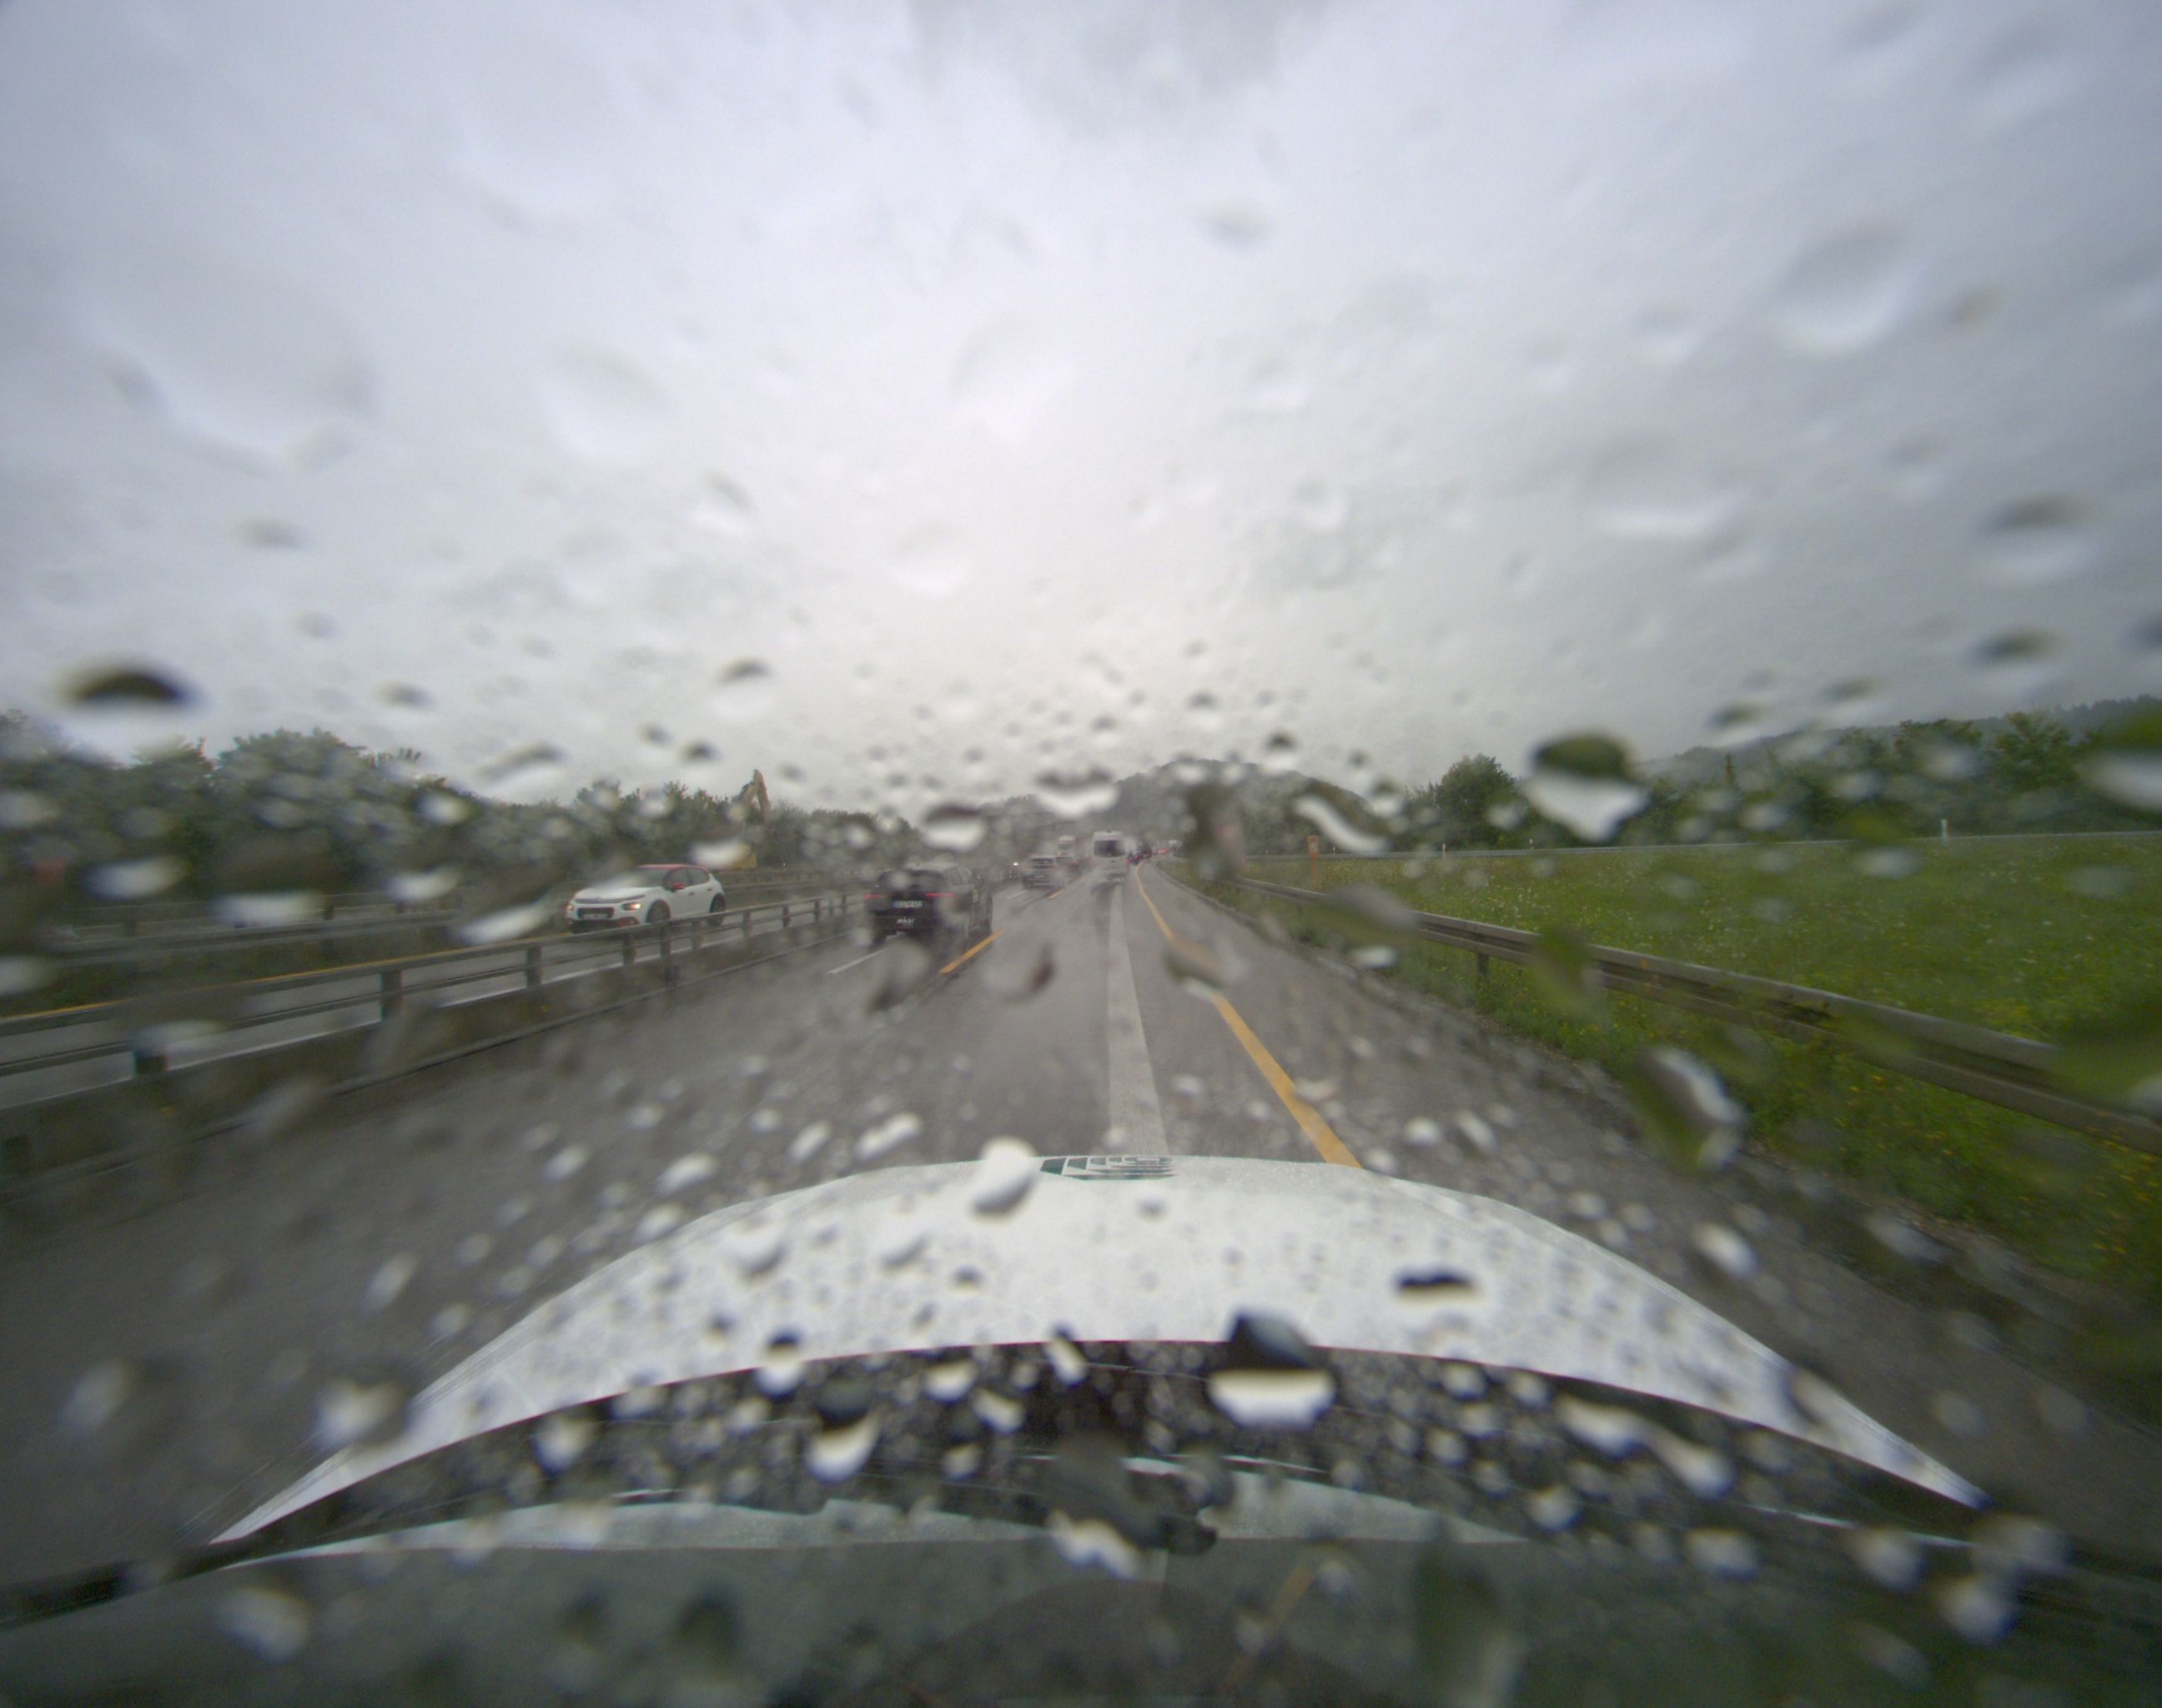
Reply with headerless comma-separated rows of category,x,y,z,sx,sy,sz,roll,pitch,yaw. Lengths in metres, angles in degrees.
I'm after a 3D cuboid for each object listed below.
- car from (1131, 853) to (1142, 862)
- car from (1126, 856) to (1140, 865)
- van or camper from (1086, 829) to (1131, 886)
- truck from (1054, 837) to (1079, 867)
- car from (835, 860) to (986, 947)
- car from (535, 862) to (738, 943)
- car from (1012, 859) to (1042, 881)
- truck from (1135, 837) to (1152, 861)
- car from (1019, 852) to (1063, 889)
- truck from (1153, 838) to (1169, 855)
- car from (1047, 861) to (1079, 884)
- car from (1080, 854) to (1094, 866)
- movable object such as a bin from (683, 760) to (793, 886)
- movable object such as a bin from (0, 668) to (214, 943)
car,7.867,0.541,116.196,1.379,1.256,3.123,-1,0,1
car,6.240,0.756,98.034,1.381,1.078,3.120,-1,0,-2
van or camper,1.418,0.193,41.957,2.131,2.721,4.650,-1,0,2
truck,-2.197,-0.303,123.893,2.994,4.272,6.808,-2,0,4
car,-3.150,0.849,16.111,1.932,1.427,4.760,-1,0,0
car,-9.524,0.960,17.932,1.986,1.505,4.298,-1,0,2
car,-4.023,1.170,61.102,1.795,1.593,4.185,0,0,2
truck,12.593,-0.927,162.648,3.305,4.785,9.920,0,0,5
car,-1.889,0.777,39.751,1.861,1.659,3.989,-1,0,1
truck,22.616,-2.086,229.076,3.905,4.785,9.932,0,0,9
car,-1.234,1.264,56.212,1.844,1.500,4.004,-1,0,3
car,0.596,0.578,81.249,1.258,1.078,3.255,-1,0,1
movable object such as a bin,-23.599,-1.969,56.725,3.579,8.143,8.319,0,-1,5
movable object such as a bin,-25.375,-1.047,16.114,4.153,5.915,11.055,0,0,3
